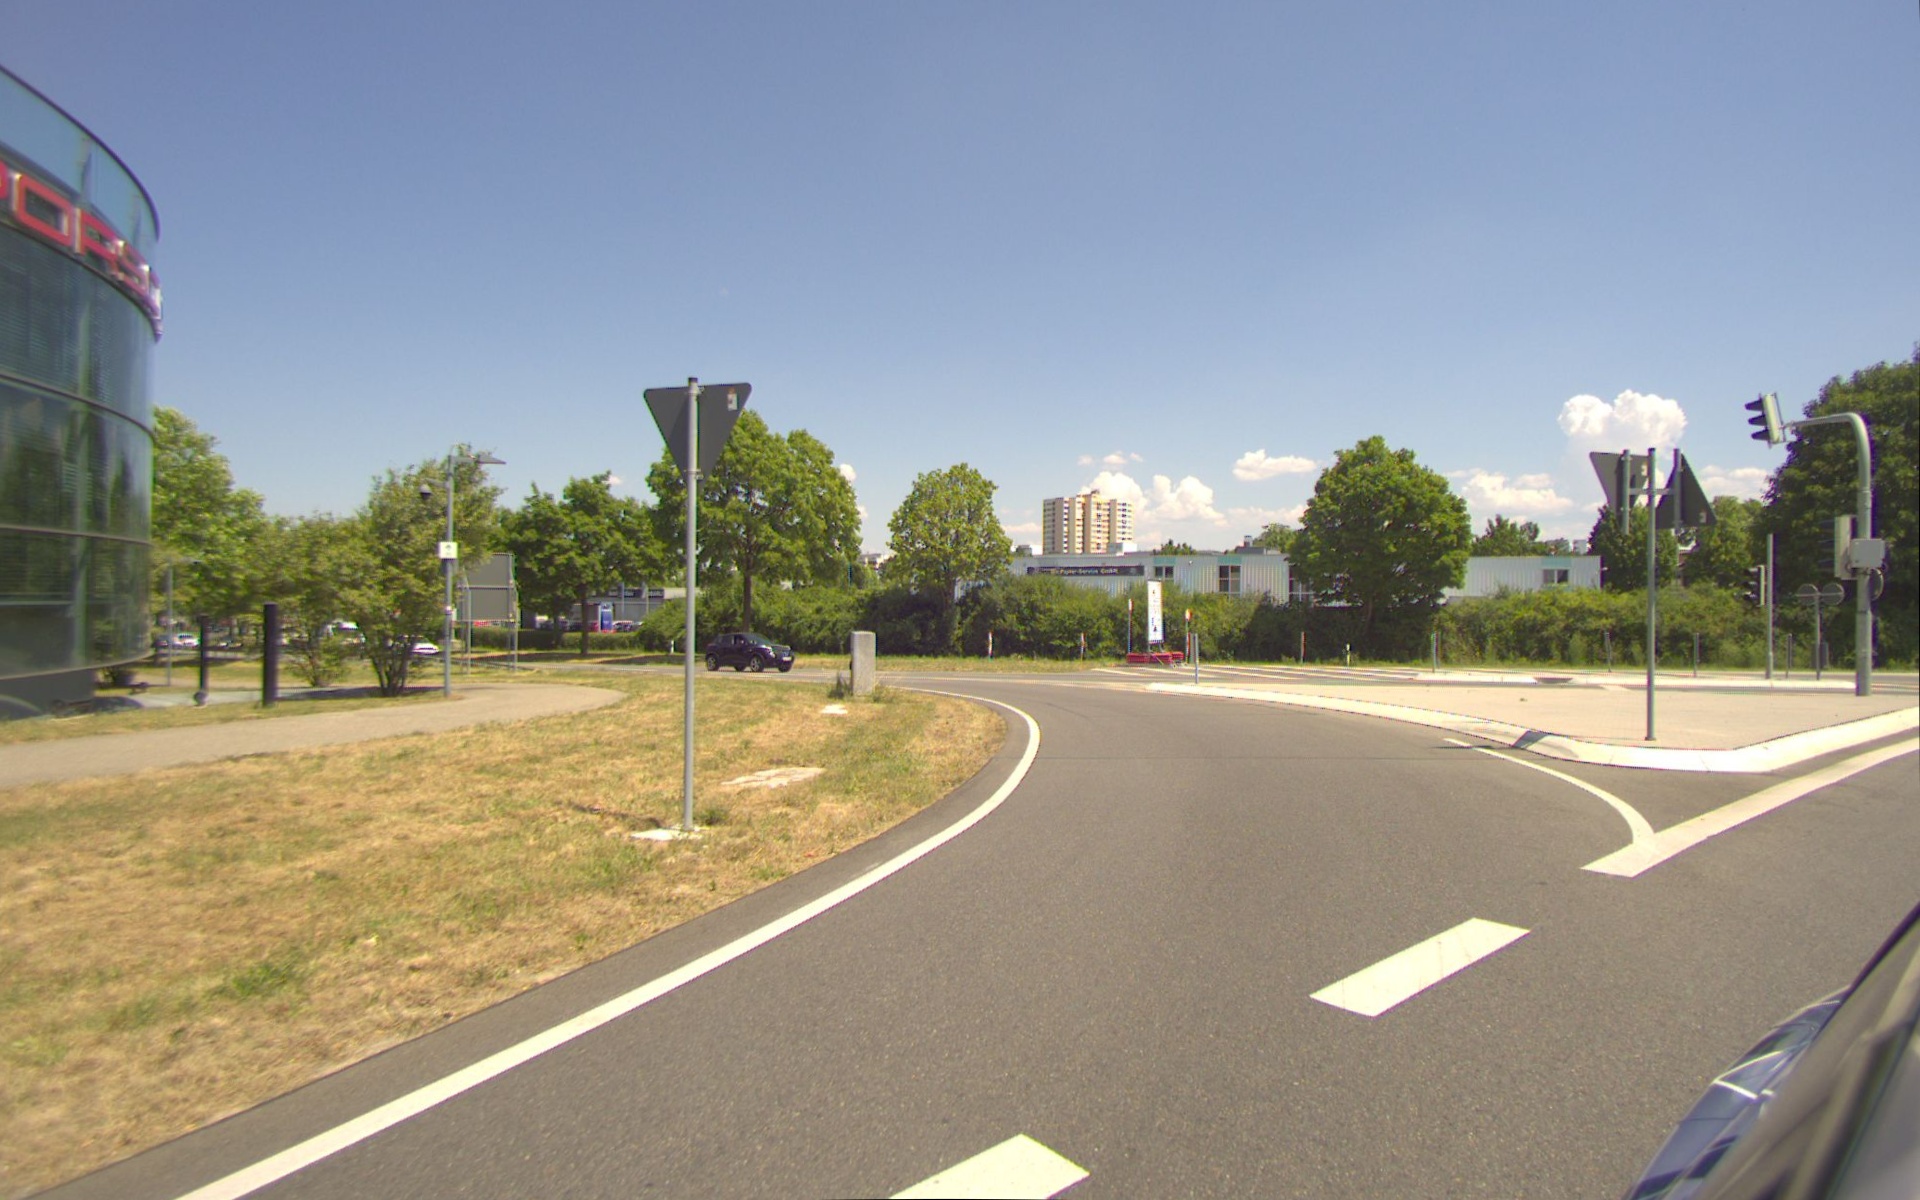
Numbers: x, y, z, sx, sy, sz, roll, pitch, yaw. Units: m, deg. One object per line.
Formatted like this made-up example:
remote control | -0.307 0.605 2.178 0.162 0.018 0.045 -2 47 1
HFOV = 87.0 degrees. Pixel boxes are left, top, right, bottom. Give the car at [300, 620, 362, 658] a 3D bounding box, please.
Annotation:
car | -40.407 2.450 64.954 4.994 2.326 2.024 -1 -1 41

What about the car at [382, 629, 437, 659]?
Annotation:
car | -35.814 2.827 65.838 4.228 1.833 1.841 -1 -1 41

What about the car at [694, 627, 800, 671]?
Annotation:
car | -8.564 1.925 40.484 4.332 1.620 1.910 -2 -1 40

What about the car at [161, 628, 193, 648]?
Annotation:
car | -75.166 3.660 97.144 4.233 1.833 1.839 -1 -1 45
